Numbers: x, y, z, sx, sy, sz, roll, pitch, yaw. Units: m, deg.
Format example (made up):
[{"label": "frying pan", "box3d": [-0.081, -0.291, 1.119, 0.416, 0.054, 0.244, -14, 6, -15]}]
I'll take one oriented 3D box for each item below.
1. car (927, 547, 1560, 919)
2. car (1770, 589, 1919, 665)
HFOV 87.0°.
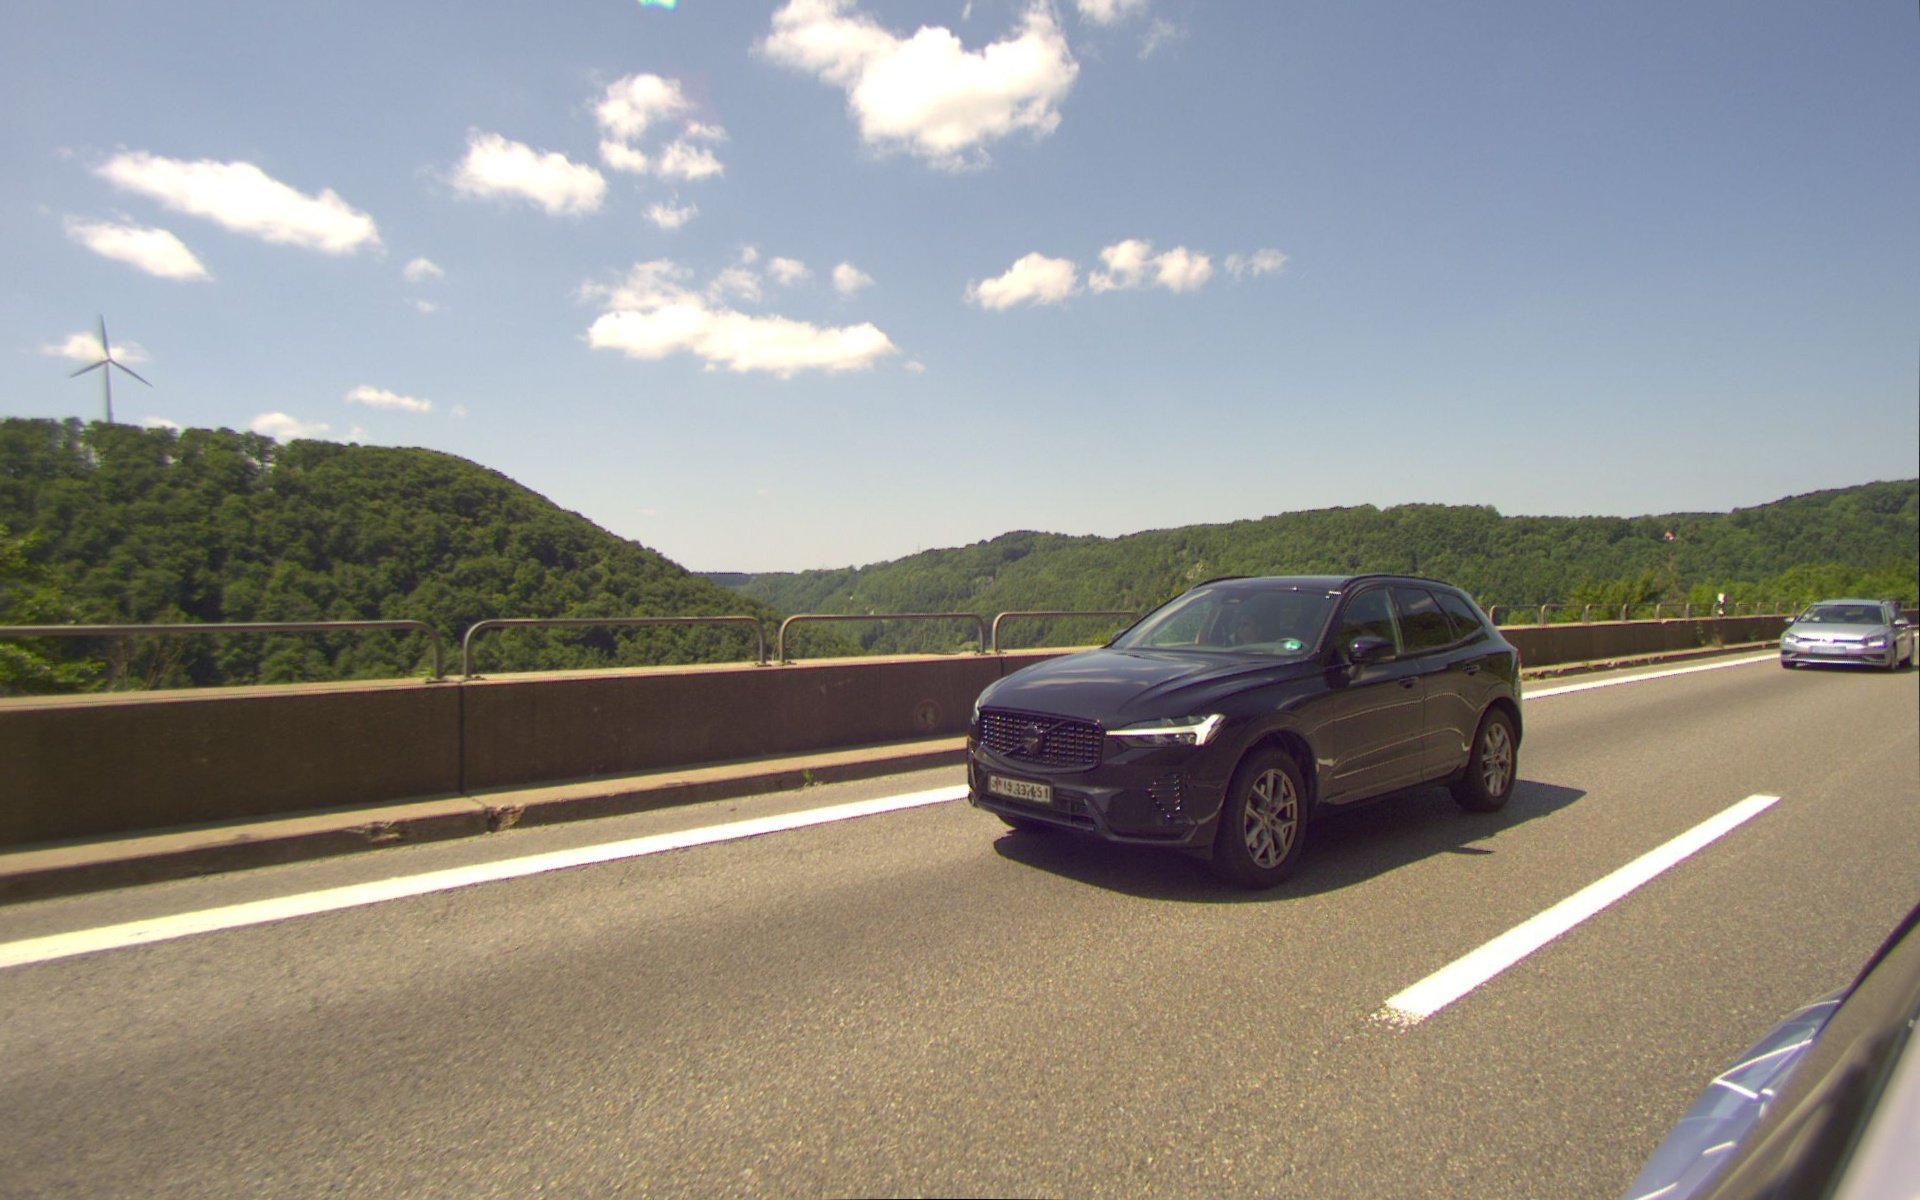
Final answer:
[{"label": "car", "box3d": [2.130, 0.571, 6.709, 4.580, 1.654, 1.838, 0, 1, -41]}, {"label": "car", "box3d": [18.893, 0.496, 21.365, 4.217, 1.395, 1.972, -1, 1, -39]}]
